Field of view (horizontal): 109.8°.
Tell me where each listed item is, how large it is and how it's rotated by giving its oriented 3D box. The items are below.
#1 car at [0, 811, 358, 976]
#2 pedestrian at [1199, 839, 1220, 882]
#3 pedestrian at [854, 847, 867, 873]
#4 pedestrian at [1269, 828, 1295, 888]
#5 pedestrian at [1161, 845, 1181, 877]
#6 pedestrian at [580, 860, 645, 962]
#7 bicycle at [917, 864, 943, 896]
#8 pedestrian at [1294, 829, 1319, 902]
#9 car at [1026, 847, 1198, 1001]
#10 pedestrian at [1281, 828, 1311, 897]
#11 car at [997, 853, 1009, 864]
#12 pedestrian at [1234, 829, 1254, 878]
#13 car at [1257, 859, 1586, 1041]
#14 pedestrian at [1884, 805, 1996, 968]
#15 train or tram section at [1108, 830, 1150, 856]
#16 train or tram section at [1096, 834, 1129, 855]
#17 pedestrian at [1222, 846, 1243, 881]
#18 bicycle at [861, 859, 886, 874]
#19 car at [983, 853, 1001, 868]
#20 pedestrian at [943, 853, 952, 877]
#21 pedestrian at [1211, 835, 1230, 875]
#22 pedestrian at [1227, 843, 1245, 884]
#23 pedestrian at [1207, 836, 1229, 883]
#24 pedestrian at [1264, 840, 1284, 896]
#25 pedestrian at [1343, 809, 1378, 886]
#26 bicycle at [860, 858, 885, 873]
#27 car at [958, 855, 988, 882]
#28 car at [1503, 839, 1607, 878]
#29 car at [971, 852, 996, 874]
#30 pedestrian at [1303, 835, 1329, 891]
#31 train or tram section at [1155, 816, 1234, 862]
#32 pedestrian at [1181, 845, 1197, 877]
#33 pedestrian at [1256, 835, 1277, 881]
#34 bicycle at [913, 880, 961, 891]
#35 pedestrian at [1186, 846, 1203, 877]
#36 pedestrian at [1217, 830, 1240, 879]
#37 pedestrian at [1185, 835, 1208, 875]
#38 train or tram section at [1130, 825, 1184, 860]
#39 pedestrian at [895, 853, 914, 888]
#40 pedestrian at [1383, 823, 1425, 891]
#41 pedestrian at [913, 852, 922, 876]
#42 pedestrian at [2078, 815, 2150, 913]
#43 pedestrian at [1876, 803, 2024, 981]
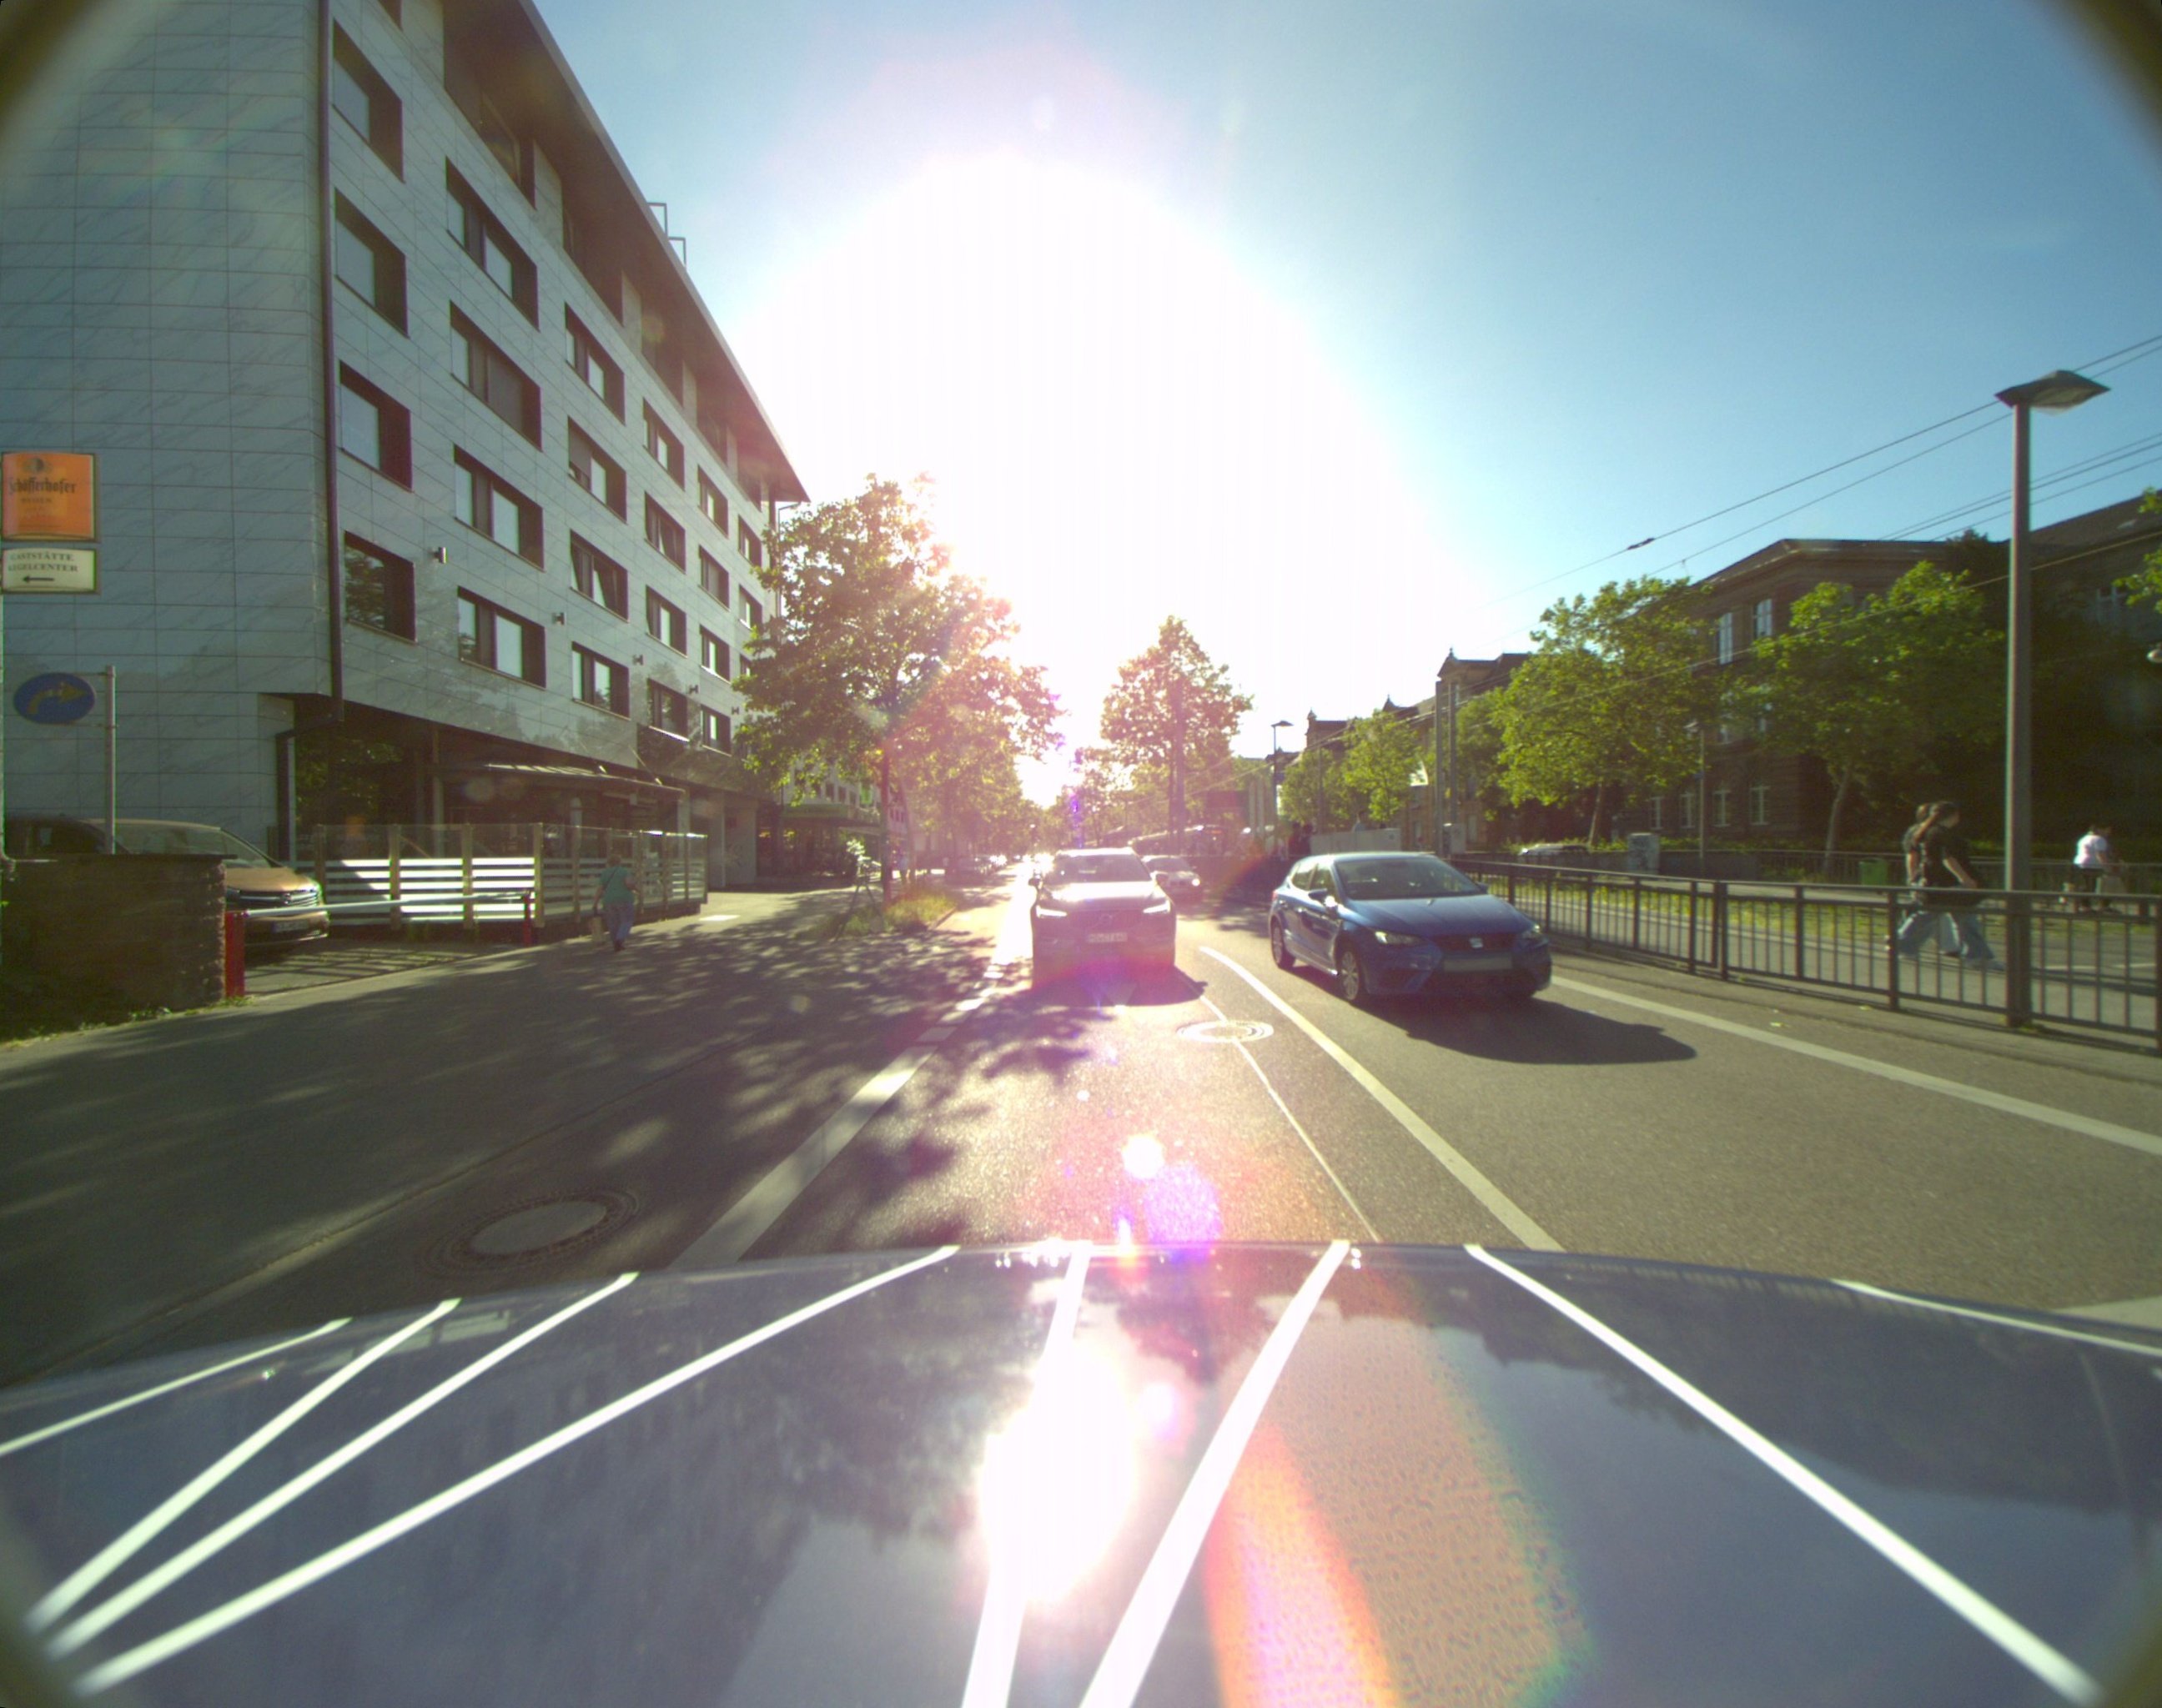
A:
[{"bbox_3d":[-13.327,0.458,10.343,4.911,1.973,1.912,2,0,-4],"label":"car"},{"bbox_3d":[4.808,0.238,28.432,0.662,1.624,0.570,0,1,-3],"label":"pedestrian"},{"bbox_3d":[-15.417,0.422,53.188,0.615,1.705,0.611,6,-1,-29],"label":"pedestrian"},{"bbox_3d":[5.761,0.115,21.789,0.507,1.692,0.611,0,1,-8],"label":"pedestrian"},{"bbox_3d":[4.239,0.310,35.833,0.778,1.501,0.751,0,1,-8],"label":"pedestrian"},{"bbox_3d":[-7.592,0.890,12.312,0.740,1.566,0.830,-1,2,-43],"label":"pedestrian"},{"bbox_3d":[-5.646,0.963,28.370,0.791,1.126,1.843,0,0,-17],"label":"bicycle"},{"bbox_3d":[5.480,0.274,18.466,0.538,1.724,0.550,0,1,20],"label":"pedestrian"},{"bbox_3d":[0.211,0.771,10.762,1.914,1.695,4.271,-1,1,-4],"label":"car"},{"bbox_3d":[5.464,0.211,19.332,0.549,1.724,0.539,0,1,-8],"label":"pedestrian"},{"bbox_3d":[-12.416,0.715,120.936,1.840,1.556,4.271,-1,0,-4],"label":"car"},{"bbox_3d":[5.743,-0.014,26.772,0.516,1.698,0.621,0,1,-5],"label":"pedestrian"},{"bbox_3d":[3.269,0.803,8.208,1.707,1.407,3.874,-2,0,-1],"label":"car"},{"bbox_3d":[9.265,0.341,8.208,0.610,1.692,0.545,0,1,-8],"label":"pedestrian"},{"bbox_3d":[5.092,-1.132,84.442,2.570,2.549,15.667,-1,0,-4],"label":"train or tram section"},{"bbox_3d":[3.989,-1.184,99.787,2.570,2.517,15.066,-1,0,-4],"label":"train or tram section"},{"bbox_3d":[5.066,0.311,25.448,0.546,1.185,0.530,0,1,-5],"label":"pedestrian"},{"bbox_3d":[-15.165,0.899,55.528,1.701,1.049,0.587,2,-1,23],"label":"bicycle"},{"bbox_3d":[-9.265,0.656,79.325,1.678,1.430,3.688,2,1,-5],"label":"car"},{"bbox_3d":[-9.599,0.763,54.783,0.561,1.694,1.051,0,1,-5],"label":"pedestrian"},{"bbox_3d":[5.826,0.030,31.851,0.620,1.640,0.622,0,1,-8],"label":"pedestrian"},{"bbox_3d":[4.939,0.300,24.246,0.417,1.308,0.507,0,1,-6],"label":"pedestrian"},{"bbox_3d":[4.927,0.198,27.420,0.662,1.686,0.570,0,1,-3],"label":"pedestrian"},{"bbox_3d":[5.964,0.421,23.479,0.506,1.692,0.612,0,1,23],"label":"pedestrian"},{"bbox_3d":[6.348,-0.145,17.251,0.549,1.724,0.539,0,1,-8],"label":"pedestrian"},{"bbox_3d":[-15.524,0.885,56.563,1.700,1.049,0.587,2,0,23],"label":"bicycle"},{"bbox_3d":[-6.748,0.874,47.692,1.569,1.541,3.998,-1,0,-4],"label":"car"},{"bbox_3d":[22.209,0.164,35.824,1.999,1.652,4.226,-3,1,-5],"label":"car"},{"bbox_3d":[-8.188,0.702,64.069,1.769,1.781,4.391,0,0,-4],"label":"car"},{"bbox_3d":[7.495,0.276,24.244,0.555,1.760,0.611,0,1,-8],"label":"pedestrian"},{"bbox_3d":[9.450,-1.133,66.506,2.857,3.414,18.206,-2,0,-4],"label":"train or tram section"},{"bbox_3d":[4.515,0.293,31.759,0.535,1.292,0.604,0,1,-8],"label":"pedestrian"},{"bbox_3d":[6.170,0.134,25.253,0.546,1.510,0.530,0,1,-5],"label":"pedestrian"},{"bbox_3d":[-5.357,1.159,28.347,1.613,0.351,1.388,0,0,-4],"label":"bicycle"},{"bbox_3d":[4.588,0.291,30.770,0.535,1.239,0.604,0,1,-6],"label":"pedestrian"},{"bbox_3d":[5.119,0.016,26.407,0.662,1.686,0.570,0,1,-3],"label":"pedestrian"},{"bbox_3d":[4.990,0.039,32.870,0.778,1.742,0.723,0,1,-8],"label":"pedestrian"},{"bbox_3d":[8.141,-1.156,84.626,2.879,3.414,18.267,-2,0,-4],"label":"train or tram section"},{"bbox_3d":[-8.417,0.774,36.193,0.700,1.603,0.867,2,0,-3],"label":"pedestrian"},{"bbox_3d":[7.747,0.057,18.246,0.642,1.610,0.640,-1,3,-8],"label":"pedestrian"},{"bbox_3d":[-11.811,0.742,54.867,0.561,1.734,0.878,0,1,-5],"label":"pedestrian"},{"bbox_3d":[18.465,0.176,13.593,0.525,1.718,0.544,0,1,-1],"label":"pedestrian"},{"bbox_3d":[8.686,0.358,7.622,0.634,1.692,0.746,0,1,-8],"label":"pedestrian"}]
